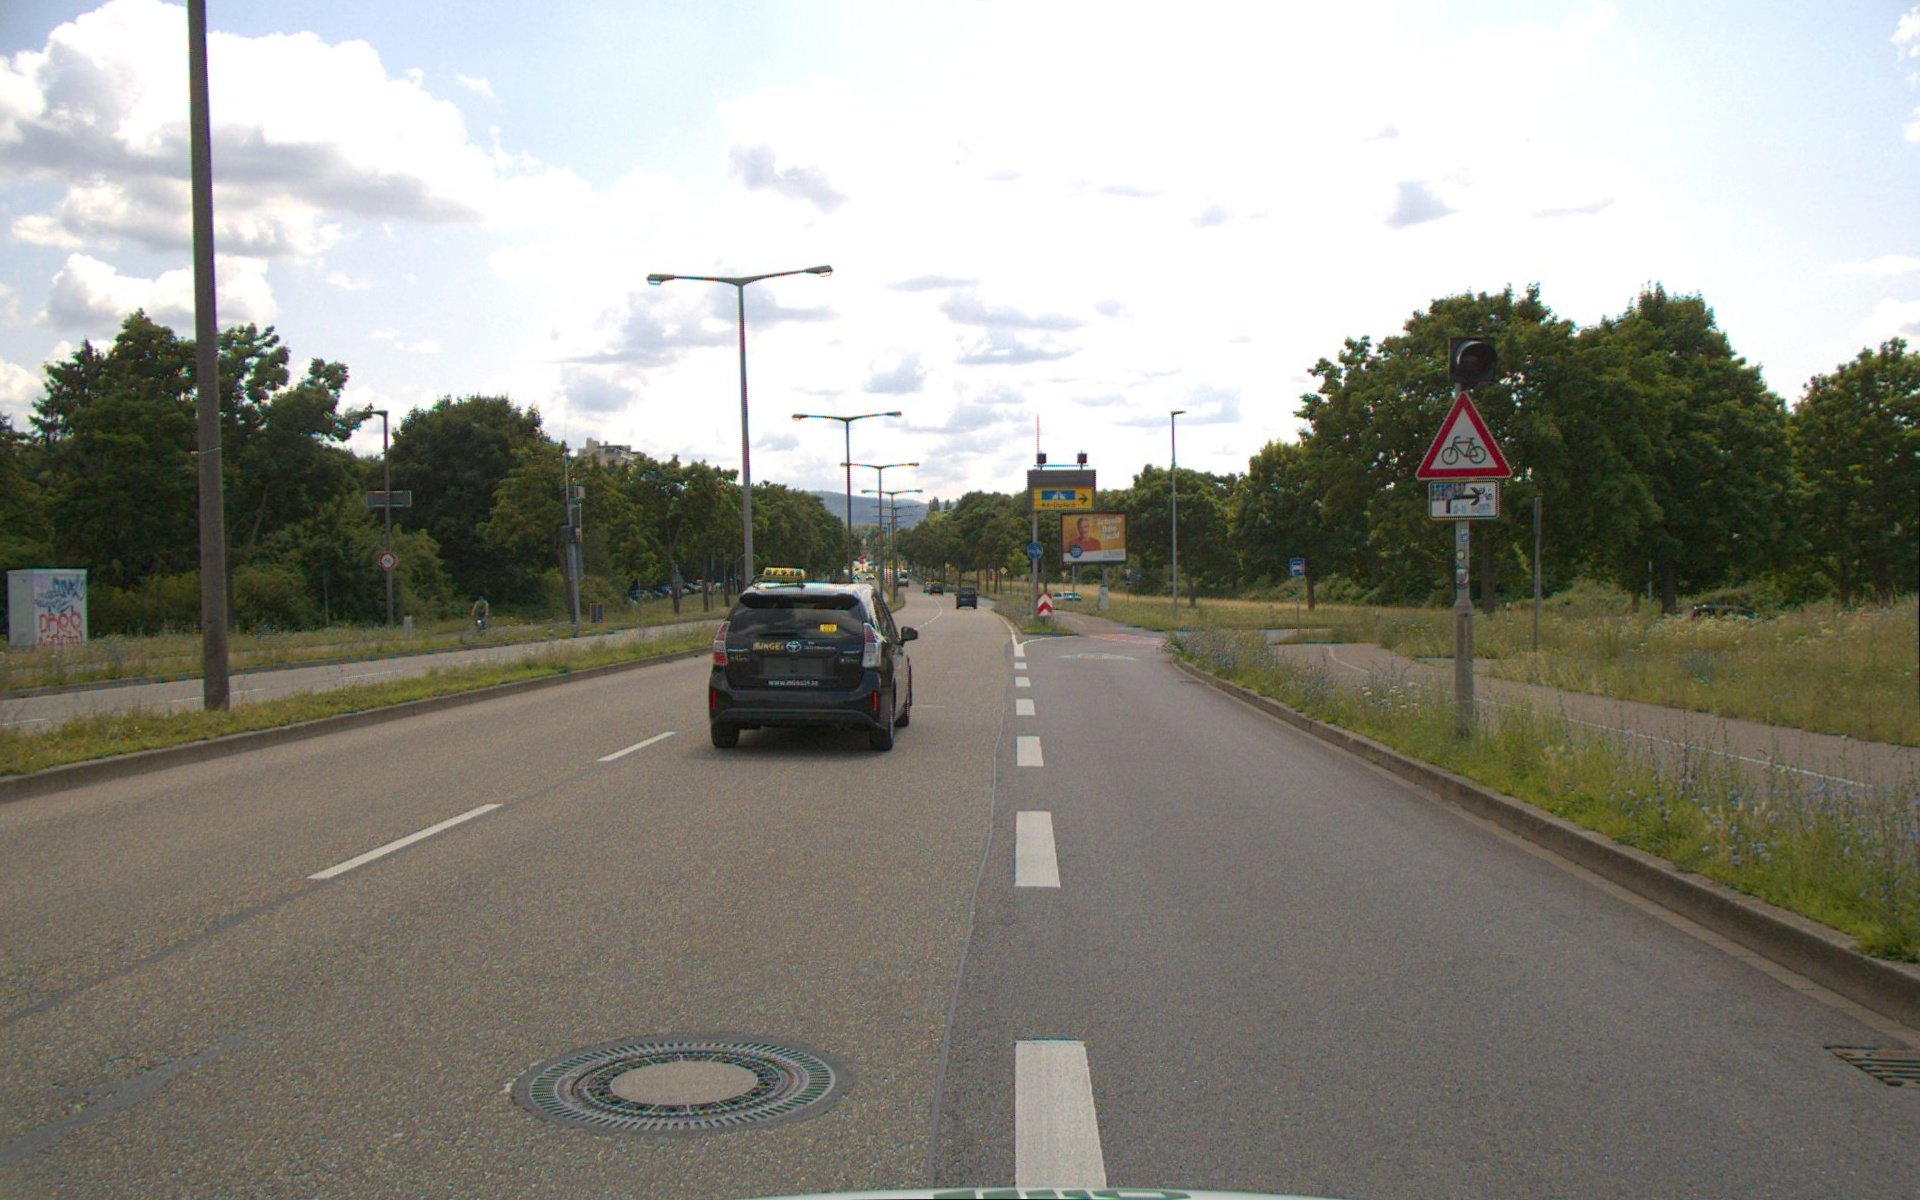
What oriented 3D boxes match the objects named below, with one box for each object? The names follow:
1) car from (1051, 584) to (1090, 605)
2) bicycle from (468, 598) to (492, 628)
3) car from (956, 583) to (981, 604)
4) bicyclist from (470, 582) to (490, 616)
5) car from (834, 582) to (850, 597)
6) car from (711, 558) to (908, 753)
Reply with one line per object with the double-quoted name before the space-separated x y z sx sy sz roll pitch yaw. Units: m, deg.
"car" 8.871 -0.469 133.040 1.961 1.534 3.983 0 2 -16
"bicycle" -18.879 0.508 65.089 0.423 1.087 1.907 1 2 -2
"car" 0.714 -0.563 139.226 1.953 1.690 3.999 1 2 -2
"bicyclist" -18.862 -0.050 65.028 0.510 1.294 1.107 1 1 -2
"car" -15.471 -1.406 217.530 1.839 1.821 4.727 -3 0 -2
"car" -1.422 0.446 16.806 1.744 1.713 3.999 1 2 -2
